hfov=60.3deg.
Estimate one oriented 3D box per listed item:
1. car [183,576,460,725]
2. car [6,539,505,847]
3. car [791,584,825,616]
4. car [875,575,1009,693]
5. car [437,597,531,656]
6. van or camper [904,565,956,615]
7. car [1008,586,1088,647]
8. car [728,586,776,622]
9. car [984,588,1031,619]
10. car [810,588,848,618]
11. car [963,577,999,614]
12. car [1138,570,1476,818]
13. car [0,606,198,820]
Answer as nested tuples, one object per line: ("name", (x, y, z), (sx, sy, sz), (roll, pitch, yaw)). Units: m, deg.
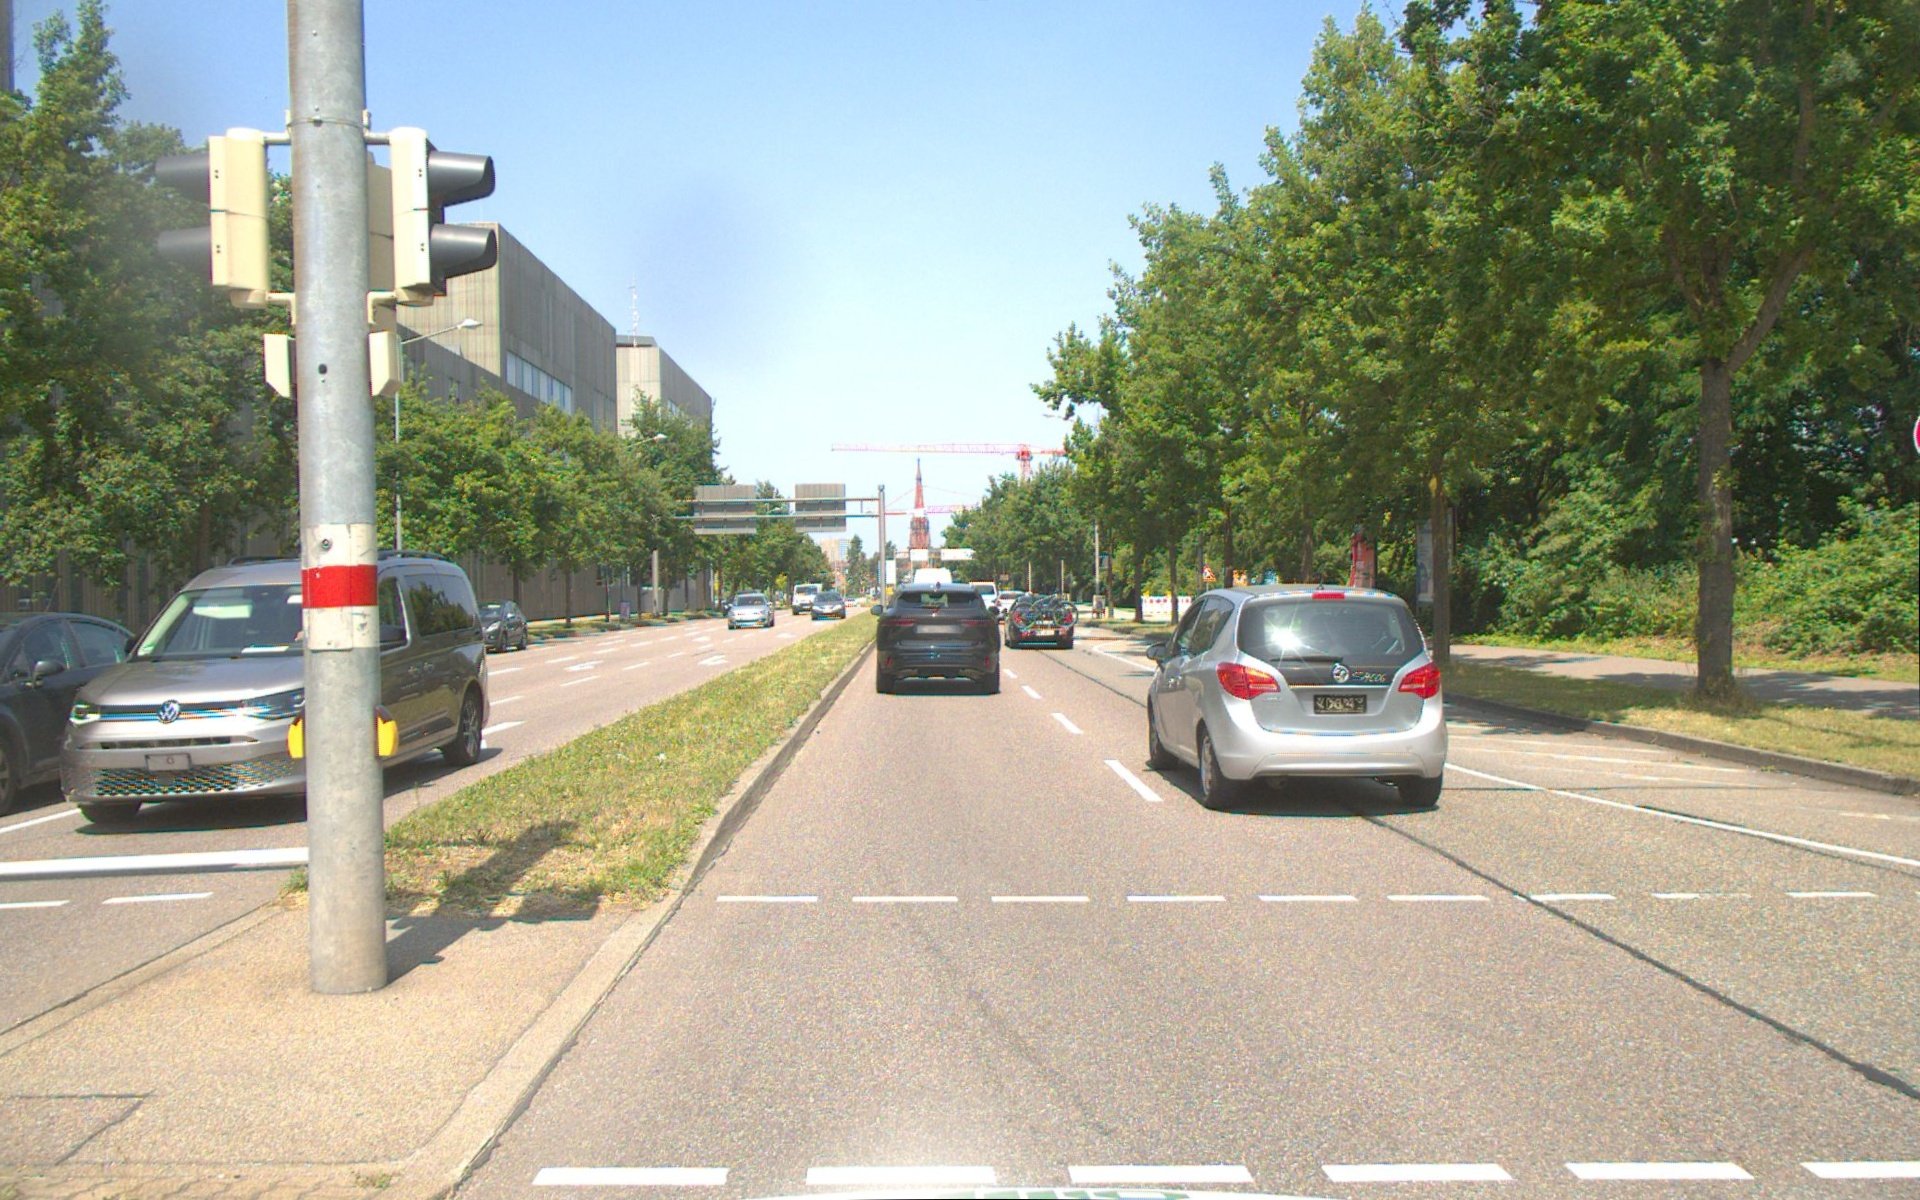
("car", (-8.231, 0.574, 21.812), (1.765, 1.692, 4.573), (-2, 0, 1))
("car", (-5.026, 0.548, 12.637), (1.773, 1.832, 4.713), (-2, 1, -1))
("car", (-10.252, -0.032, 111.819), (1.871, 2.028, 4.896), (-2, 0, -2))
("car", (-0.263, 0.486, 26.205), (1.957, 1.719, 4.033), (0, 0, 0))
("car", (-14.678, 0.770, 51.222), (1.775, 1.569, 4.367), (-5, 1, -3))
("van or camper", (-1.476, -0.491, 81.346), (2.443, 2.331, 4.919), (-1, 0, -1))
("car", (2.371, 0.444, 45.386), (1.973, 1.544, 4.461), (-1, 0, 0))
("car", (-9.059, 0.152, 72.278), (1.731, 1.486, 4.142), (-2, 0, -3))
("car", (2.171, 0.171, 76.880), (1.622, 1.380, 4.455), (-1, 0, -5))
("car", (-6.917, 0.150, 87.350), (1.774, 1.492, 4.056), (-2, 0, -2))
("car", (1.180, -0.245, 94.913), (1.953, 2.049, 3.999), (-1, 0, -1))
("car", (2.560, 0.616, 13.133), (1.756, 1.640, 3.890), (-1, 0, -2))
("car", (-7.700, 0.831, 12.815), (1.774, 1.471, 4.248), (-2, 0, -3))
